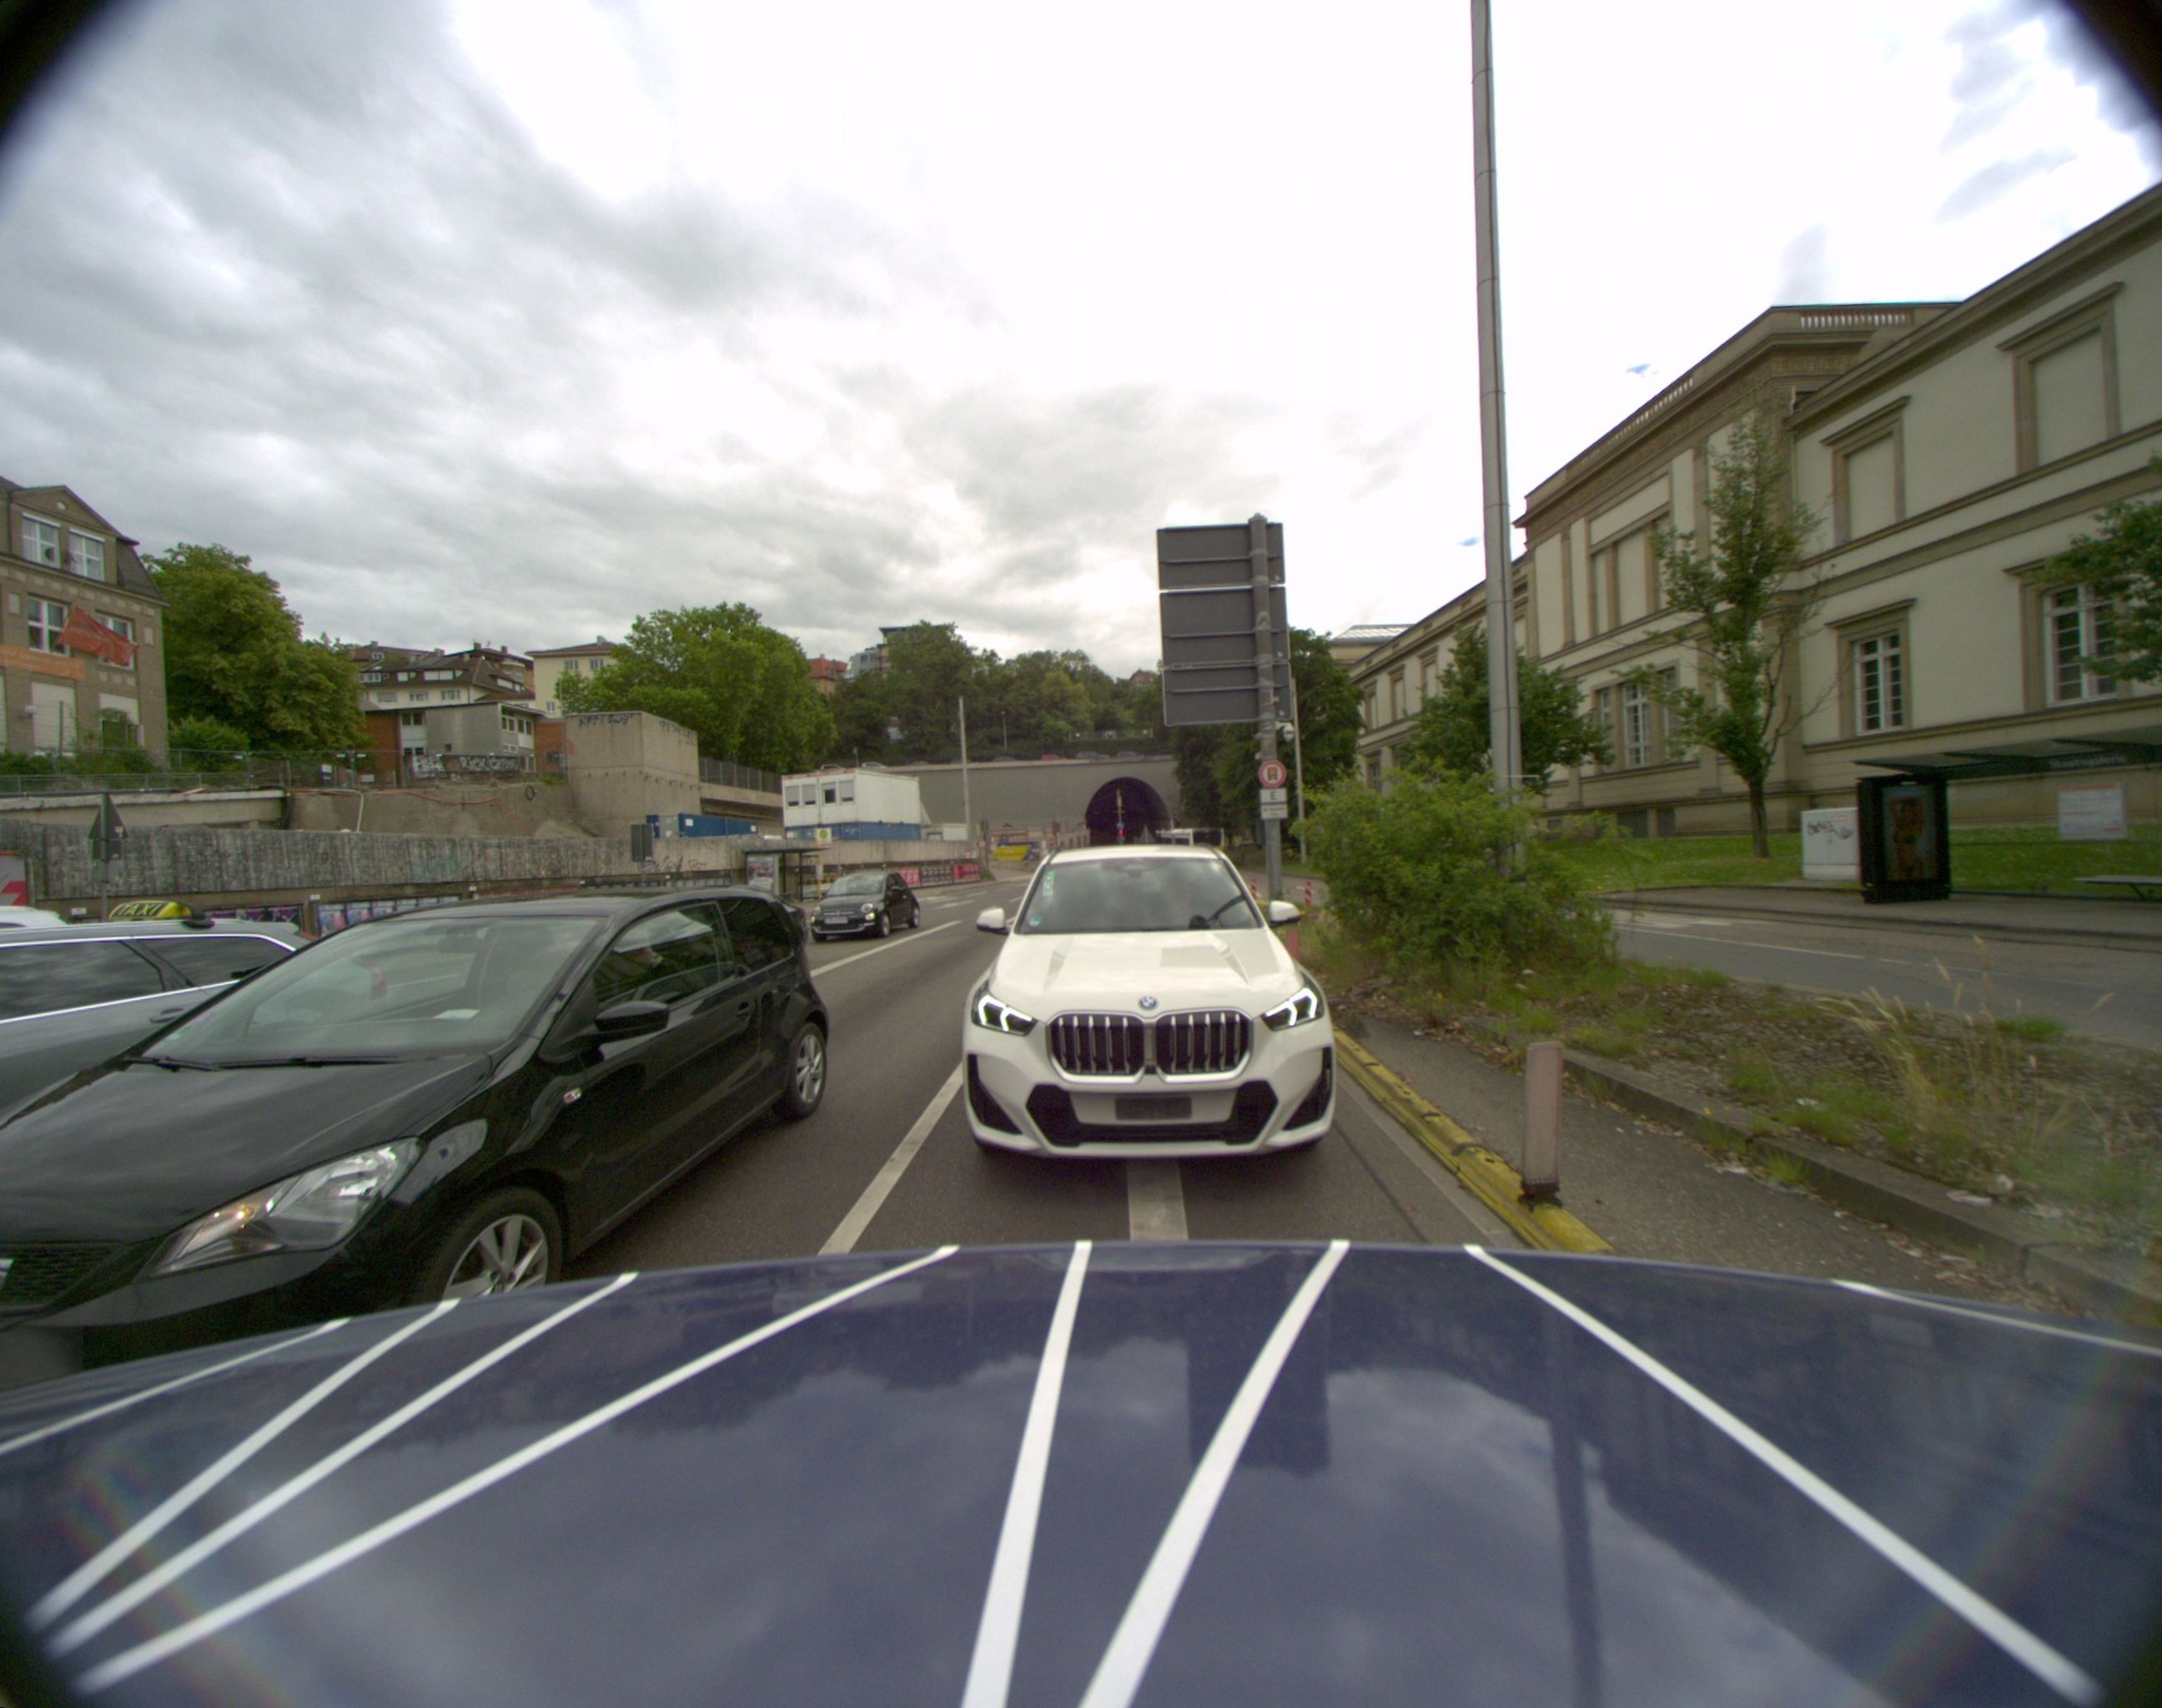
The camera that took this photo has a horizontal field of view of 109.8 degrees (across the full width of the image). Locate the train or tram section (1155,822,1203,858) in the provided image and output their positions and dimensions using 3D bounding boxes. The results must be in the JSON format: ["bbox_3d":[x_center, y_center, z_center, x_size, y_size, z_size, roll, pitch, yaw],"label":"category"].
[{"bbox_3d":[8.733,-1.198,69.065,2.701,3.053,9.374,-1,0,-3],"label":"train or tram section"}]

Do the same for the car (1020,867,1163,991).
[{"bbox_3d":[0.219,0.995,11.592,1.756,1.427,3.911,-2,0,3],"label":"car"}]

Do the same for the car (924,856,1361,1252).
[{"bbox_3d":[0.337,0.852,5.116,1.756,1.547,3.911,-2,1,3],"label":"car"}]

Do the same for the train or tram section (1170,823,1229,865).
[{"bbox_3d":[9.143,-0.724,59.723,2.701,3.053,9.334,-1,0,-2],"label":"train or tram section"}]

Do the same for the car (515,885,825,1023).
[{"bbox_3d":[-5.401,1.230,10.755,1.826,1.356,4.219,-2,0,4],"label":"car"}]

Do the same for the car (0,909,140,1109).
[{"bbox_3d":[-9.152,1.262,4.573,1.826,1.457,4.073,-2,1,0],"label":"car"}]

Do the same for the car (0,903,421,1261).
[{"bbox_3d":[-5.826,1.147,3.449,1.826,1.457,4.217,-2,1,2],"label":"car"}]

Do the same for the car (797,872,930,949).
[{"bbox_3d":[-4.952,1.237,17.857,1.720,1.450,3.782,-3,0,4],"label":"car"}]

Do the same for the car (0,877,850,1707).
[{"bbox_3d":[-2.531,0.983,3.269,1.661,1.547,3.911,-2,1,3],"label":"car"}]

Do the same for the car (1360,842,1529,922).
[{"bbox_3d":[8.402,0.564,18.062,1.884,1.616,4.370,-2,1,0],"label":"car"}]

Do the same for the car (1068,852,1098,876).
[{"bbox_3d":[0.156,0.662,52.999,1.948,1.565,3.999,-2,1,1],"label":"car"}]
